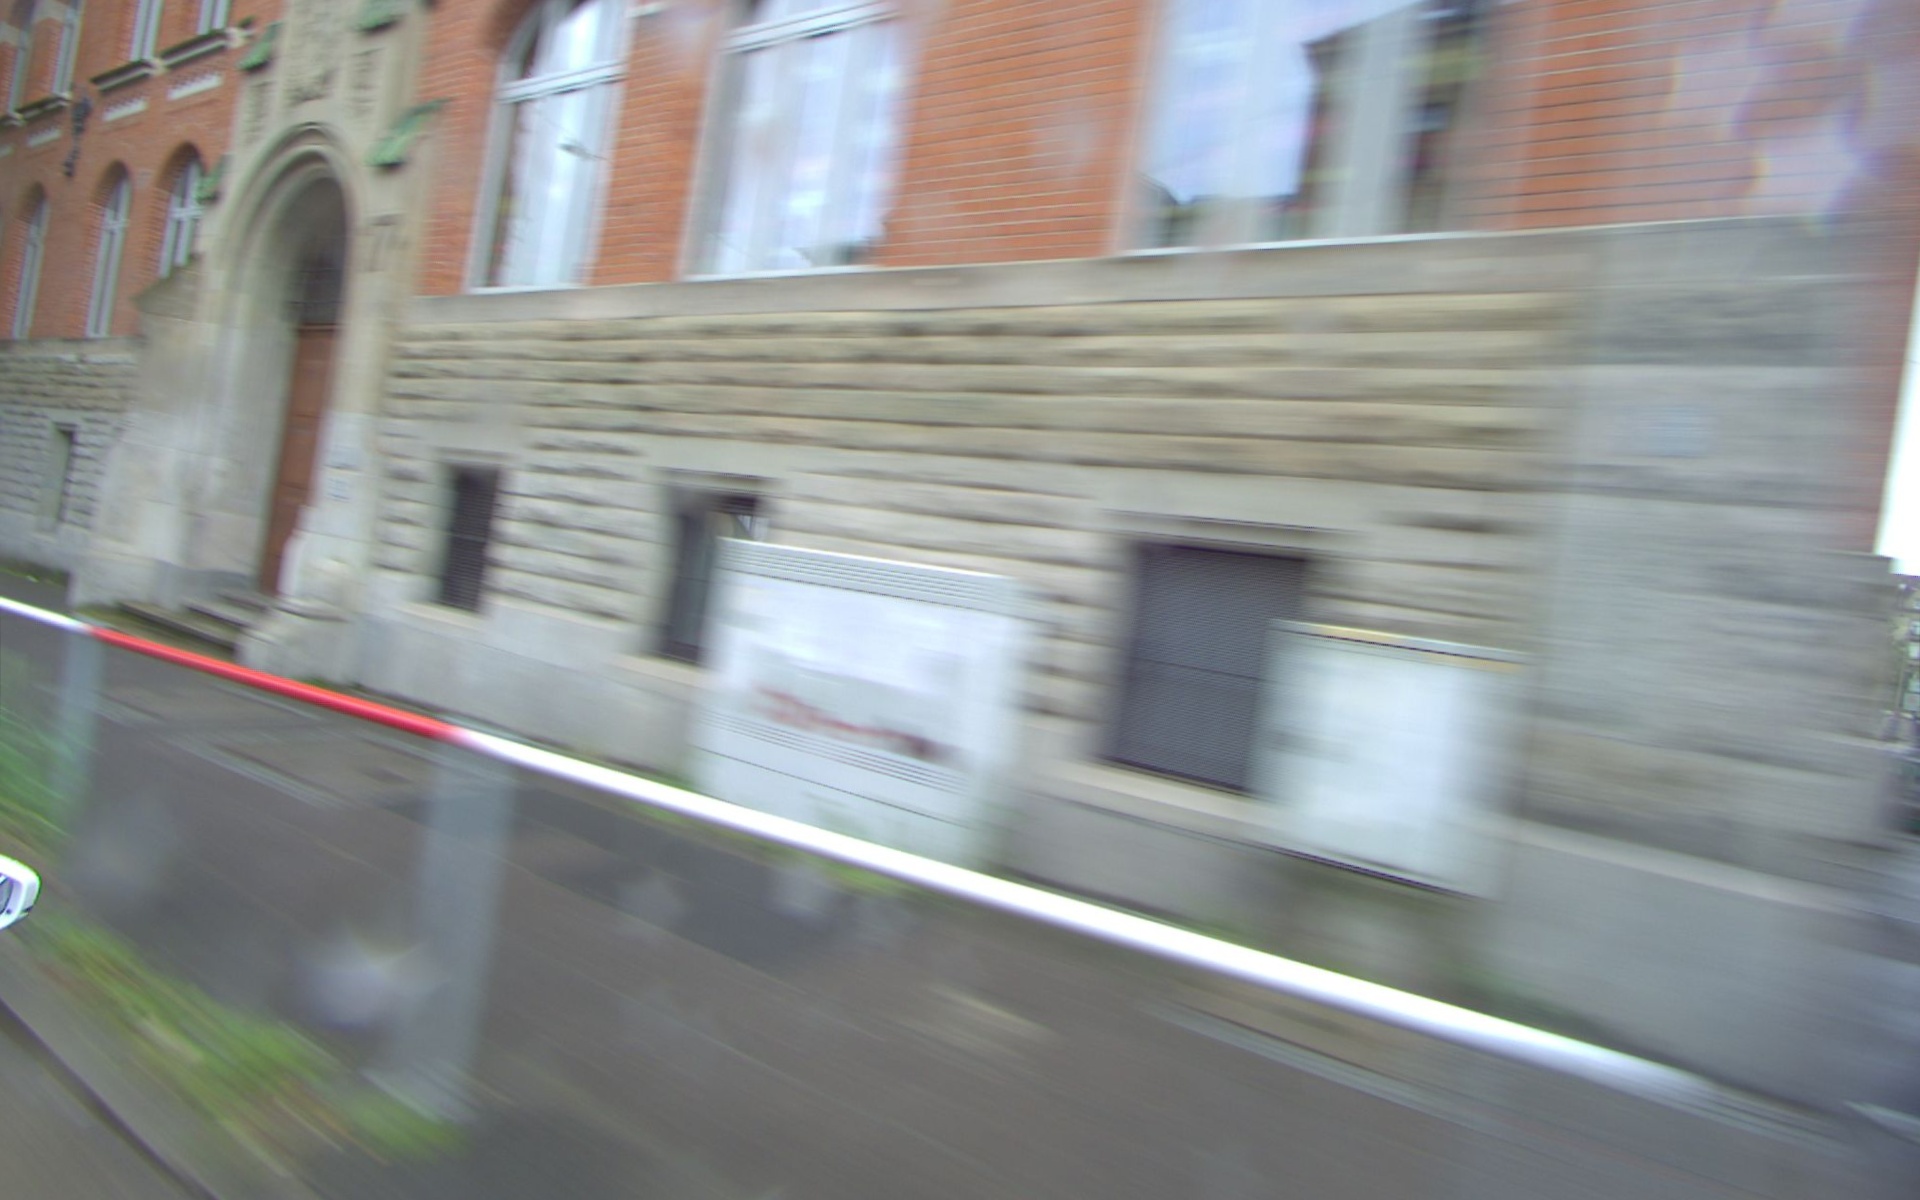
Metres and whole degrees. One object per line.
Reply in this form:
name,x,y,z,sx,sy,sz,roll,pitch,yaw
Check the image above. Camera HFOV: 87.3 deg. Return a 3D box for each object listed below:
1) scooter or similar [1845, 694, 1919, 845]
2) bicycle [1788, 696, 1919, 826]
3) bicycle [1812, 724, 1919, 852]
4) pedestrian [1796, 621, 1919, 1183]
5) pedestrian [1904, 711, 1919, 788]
scooter or similar,10.056,1.805,10.116,1.493,1.436,0.408,11,2,33
bicycle,11.444,2.031,12.271,1.809,1.261,0.343,15,6,30
bicycle,10.908,2.221,11.414,1.639,1.218,0.413,13,6,30
pedestrian,3.475,0.960,3.110,1.055,1.646,0.959,8,1,31
pedestrian,24.232,3.771,25.289,0.427,1.920,0.536,8,0,32
